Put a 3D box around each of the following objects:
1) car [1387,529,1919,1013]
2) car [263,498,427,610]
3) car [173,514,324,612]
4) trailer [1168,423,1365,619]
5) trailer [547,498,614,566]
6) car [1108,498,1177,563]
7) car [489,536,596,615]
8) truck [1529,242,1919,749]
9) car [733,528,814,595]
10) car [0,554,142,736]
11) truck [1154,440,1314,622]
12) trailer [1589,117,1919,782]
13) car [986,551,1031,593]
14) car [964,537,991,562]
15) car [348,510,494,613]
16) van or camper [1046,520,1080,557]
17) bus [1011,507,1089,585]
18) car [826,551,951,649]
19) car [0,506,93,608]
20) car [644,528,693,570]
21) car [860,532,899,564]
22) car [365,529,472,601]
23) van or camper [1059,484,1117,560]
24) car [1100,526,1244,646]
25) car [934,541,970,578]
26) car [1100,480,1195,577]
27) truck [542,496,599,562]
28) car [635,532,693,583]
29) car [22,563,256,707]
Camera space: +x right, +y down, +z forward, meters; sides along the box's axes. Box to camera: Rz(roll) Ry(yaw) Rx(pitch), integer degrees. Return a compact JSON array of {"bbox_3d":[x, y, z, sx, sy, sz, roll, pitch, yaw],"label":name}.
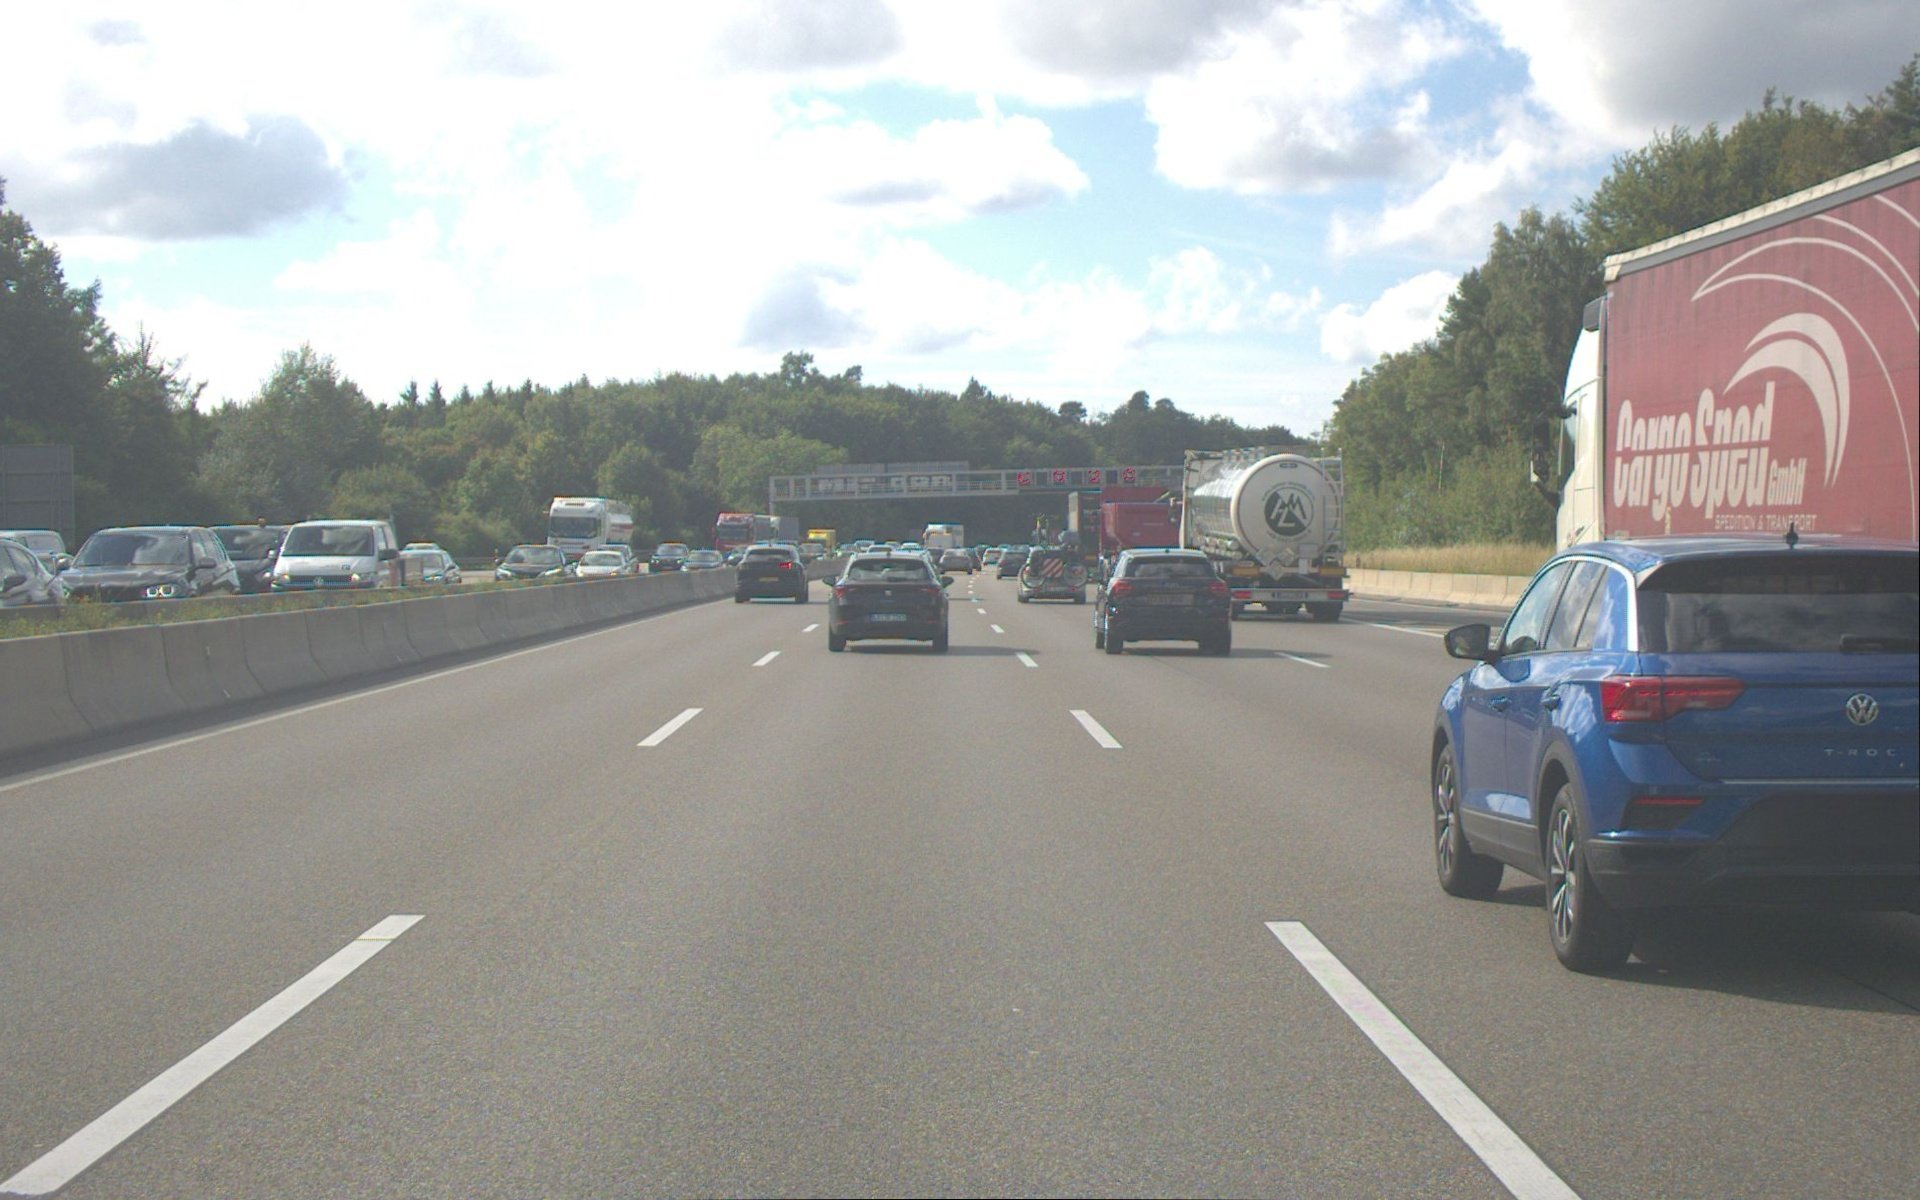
[{"bbox_3d":[2.983,0.541,13.444,1.924,1.536,4.646,2,1,-1],"label":"car"},{"bbox_3d":[-10.989,-0.789,61.771,1.993,1.858,4.550,1,-1,2],"label":"car"},{"bbox_3d":[-14.434,-0.731,69.984,1.993,1.858,4.550,1,-1,2],"label":"car"},{"bbox_3d":[6.618,-1.591,76.230,3.036,4.002,12.245,0,0,-1],"label":"trailer"},{"bbox_3d":[-18.344,-3.279,166.617,2.284,3.013,7.605,1,-1,1],"label":"trailer"},{"bbox_3d":[6.004,-2.276,113.732,1.993,2.007,4.000,1,-1,-1],"label":"car"},{"bbox_3d":[-10.433,-0.595,86.218,1.993,1.858,4.550,1,-1,2],"label":"car"},{"bbox_3d":[7.179,-0.791,30.670,3.080,4.050,6.069,1,-1,-1],"label":"truck"},{"bbox_3d":[-5.068,-1.060,93.761,1.993,1.770,4.000,-1,1,0],"label":"car"},{"bbox_3d":[-10.488,0.478,37.314,1.993,1.858,4.550,1,-1,2],"label":"car"},{"bbox_3d":[6.462,-1.568,82.203,3.045,4.146,7.127,0,0,-2],"label":"truck"},{"bbox_3d":[7.271,-0.857,23.819,3.038,4.021,13.890,1,-1,-1],"label":"trailer"},{"bbox_3d":[2.334,-1.350,167.342,1.993,2.007,4.000,1,0,-2],"label":"car"},{"bbox_3d":[1.137,-3.262,221.246,1.675,1.587,3.628,-1,1,1],"label":"car"},{"bbox_3d":[-10.430,-0.714,66.800,1.993,1.858,4.550,1,-1,2],"label":"car"},{"bbox_3d":[7.016,-4.170,233.883,2.083,2.484,4.225,-1,1,-1],"label":"van or camper"},{"bbox_3d":[2.449,-1.468,94.693,1.993,2.007,4.000,1,-1,0],"label":"bus"},{"bbox_3d":[-1.081,0.000,50.653,1.734,1.360,4.000,1,0,-2],"label":"car"},{"bbox_3d":[-18.538,-0.818,67.049,1.993,1.858,4.550,1,-1,2],"label":"car"},{"bbox_3d":[-14.255,-2.524,168.199,1.993,2.007,4.000,-1,1,1],"label":"car"},{"bbox_3d":[-4.691,-3.045,200.673,2.154,1.770,4.000,1,0,0],"label":"car"},{"bbox_3d":[-14.398,-0.947,91.640,1.993,1.858,4.550,-1,1,2],"label":"car"},{"bbox_3d":[5.585,-3.385,150.665,2.351,3.133,5.710,1,-1,1],"label":"van or camper"},{"bbox_3d":[3.035,-0.190,49.904,1.799,1.639,4.000,1,0,0],"label":"car"},{"bbox_3d":[-0.493,-2.328,197.944,1.993,2.007,4.000,-1,-1,-1],"label":"car"},{"bbox_3d":[6.166,-2.317,113.458,2.866,2.981,5.149,1,-1,1],"label":"car"},{"bbox_3d":[-18.378,-3.338,162.317,2.284,3.013,2.699,1,-1,1],"label":"truck"},{"bbox_3d":[-12.274,-1.744,142.905,1.993,2.007,4.000,1,-1,1],"label":"car"},{"bbox_3d":[-11.205,0.493,47.238,1.993,1.858,4.550,1,-1,2],"label":"car"}]
